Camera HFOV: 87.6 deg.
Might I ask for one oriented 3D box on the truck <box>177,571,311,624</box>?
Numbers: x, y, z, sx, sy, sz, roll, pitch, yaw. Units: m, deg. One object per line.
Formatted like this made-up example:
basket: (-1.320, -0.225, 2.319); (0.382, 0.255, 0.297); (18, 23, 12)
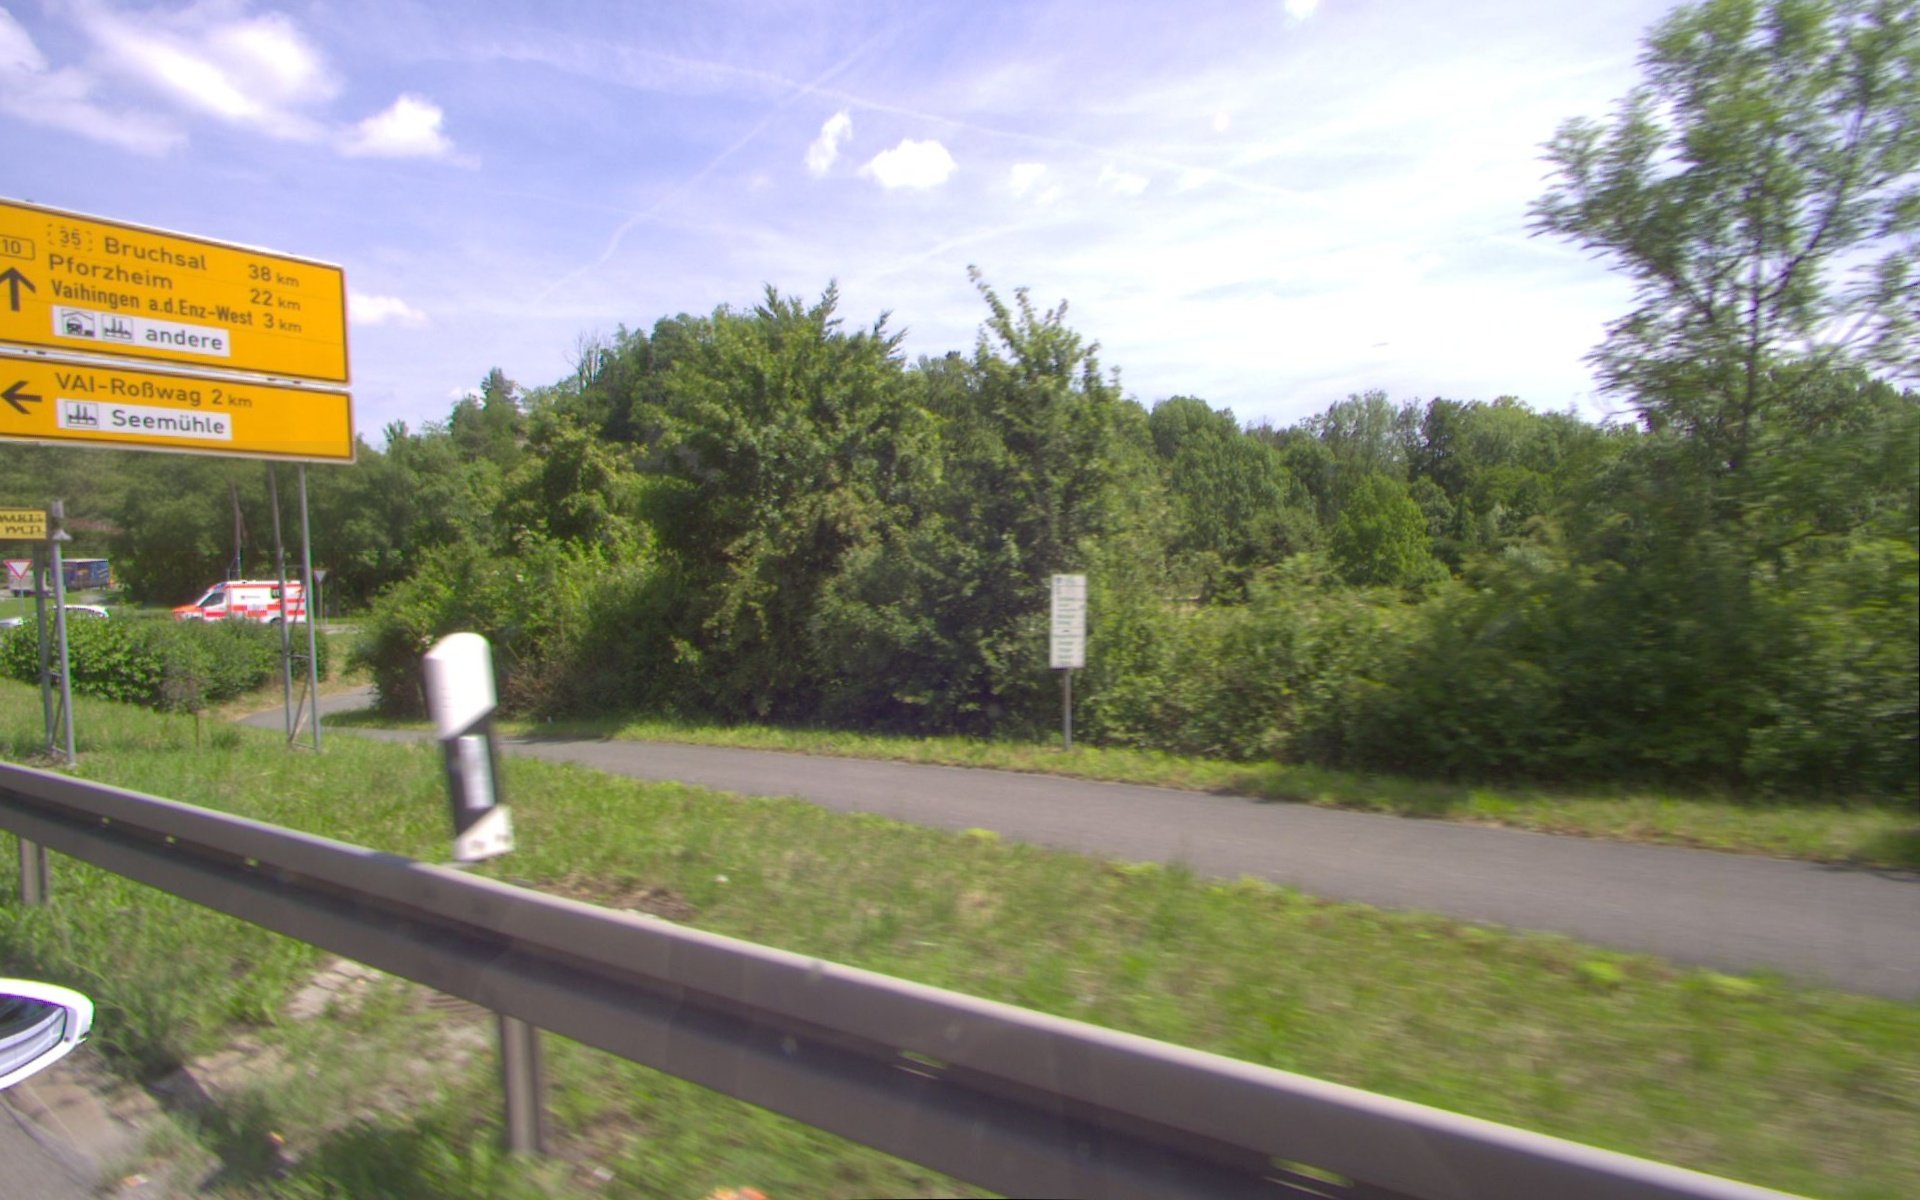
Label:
truck: (-39.719, -0.055, 55.775); (5.951, 2.762, 2.487); (1, -2, -34)

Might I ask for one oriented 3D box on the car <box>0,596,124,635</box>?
car: (-42.464, 0.767, 47.262); (1.978, 1.740, 4.407); (-2, -3, 41)

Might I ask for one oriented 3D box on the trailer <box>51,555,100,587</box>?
trailer: (-114.228, -3.659, 129.443); (3.217, 3.734, 9.197); (0, 0, -31)

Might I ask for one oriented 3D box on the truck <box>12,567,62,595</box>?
truck: (-106.140, -2.095, 115.247); (2.825, 2.987, 7.064); (0, 0, -31)
